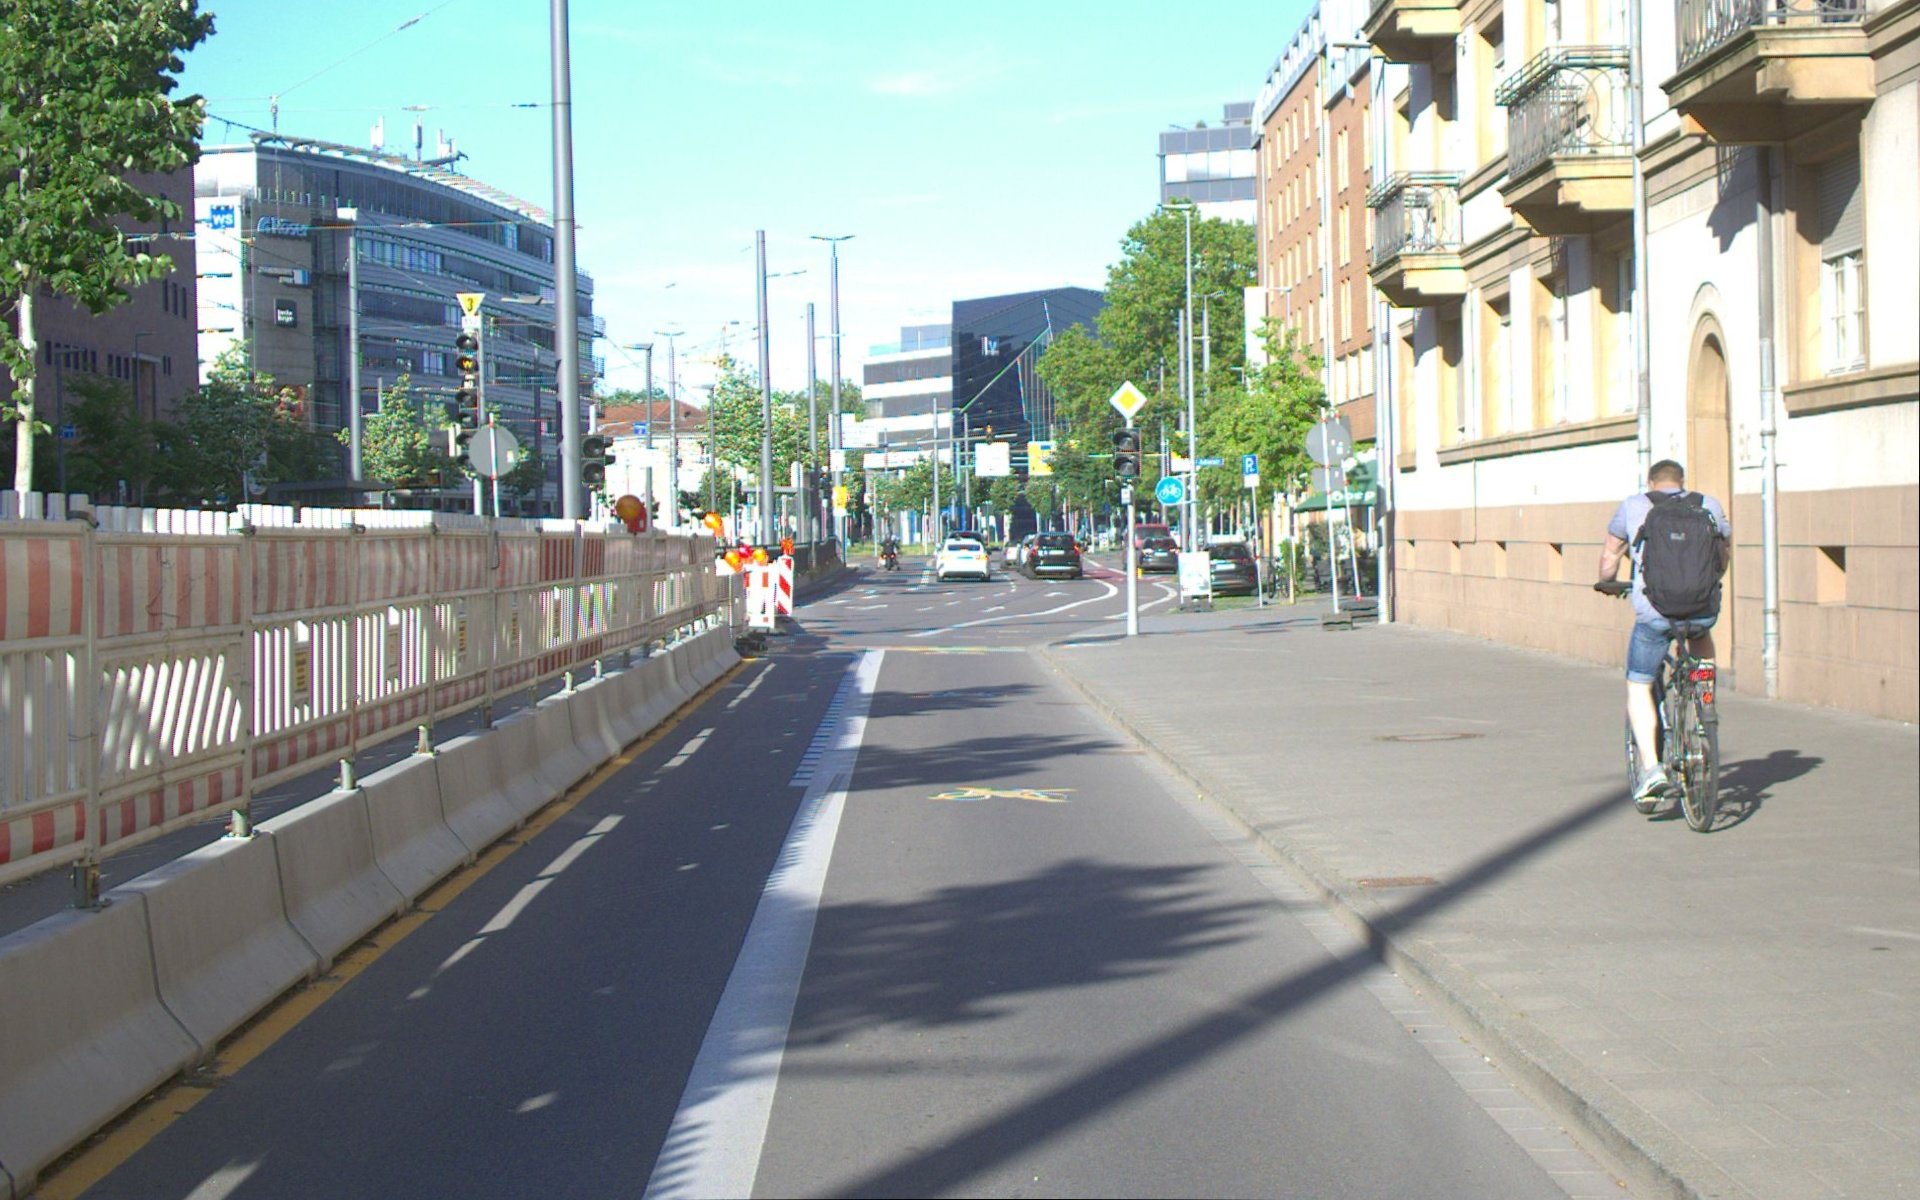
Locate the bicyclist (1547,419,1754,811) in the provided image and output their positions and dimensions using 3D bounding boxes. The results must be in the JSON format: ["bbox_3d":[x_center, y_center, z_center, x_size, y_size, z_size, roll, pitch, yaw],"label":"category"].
[{"bbox_3d":[3.203,0.059,16.021,0.733,1.757,0.938,-1,1,-1],"label":"bicyclist"}]

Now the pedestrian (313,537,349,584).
[{"bbox_3d":[-15.894,-0.998,86.949,0.721,1.164,0.721,-3,1,0],"label":"pedestrian"}]

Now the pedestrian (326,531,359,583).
[{"bbox_3d":[-15.979,-1.119,88.987,0.646,1.304,0.721,-3,1,0],"label":"pedestrian"}]

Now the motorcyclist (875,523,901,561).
[{"bbox_3d":[-3.069,-2.473,146.466,1.019,1.598,1.148,1,1,0],"label":"motorcyclist"}]

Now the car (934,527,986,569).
[{"bbox_3d":[-0.014,-1.843,120.672,1.780,1.409,4.819,1,1,0],"label":"car"}]

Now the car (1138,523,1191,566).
[{"bbox_3d":[8.198,-2.257,138.412,1.846,1.555,4.633,1,3,0],"label":"car"}]

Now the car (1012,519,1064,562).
[{"bbox_3d":[3.013,-2.338,134.141,1.851,1.634,4.379,-1,1,-1],"label":"car"}]

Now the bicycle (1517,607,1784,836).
[{"bbox_3d":[3.223,0.539,16.261,0.767,0.949,2.198,-1,1,-1],"label":"bicycle"}]

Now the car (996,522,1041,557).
[{"bbox_3d":[2.538,-2.680,151.066,1.851,1.492,4.379,-1,1,0],"label":"car"}]

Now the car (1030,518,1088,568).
[{"bbox_3d":[3.604,-2.113,126.201,1.975,1.753,4.633,1,1,0],"label":"car"}]

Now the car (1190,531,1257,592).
[{"bbox_3d":[7.476,-1.110,97.252,1.721,1.631,4.230,-2,1,6],"label":"car"}]

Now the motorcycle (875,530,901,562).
[{"bbox_3d":[-3.067,-2.298,146.402,1.019,1.307,2.915,1,1,0],"label":"motorcycle"}]

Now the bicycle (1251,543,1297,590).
[{"bbox_3d":[7.964,-0.844,87.321,0.765,1.077,1.998,-6,0,-3],"label":"bicycle"}]
